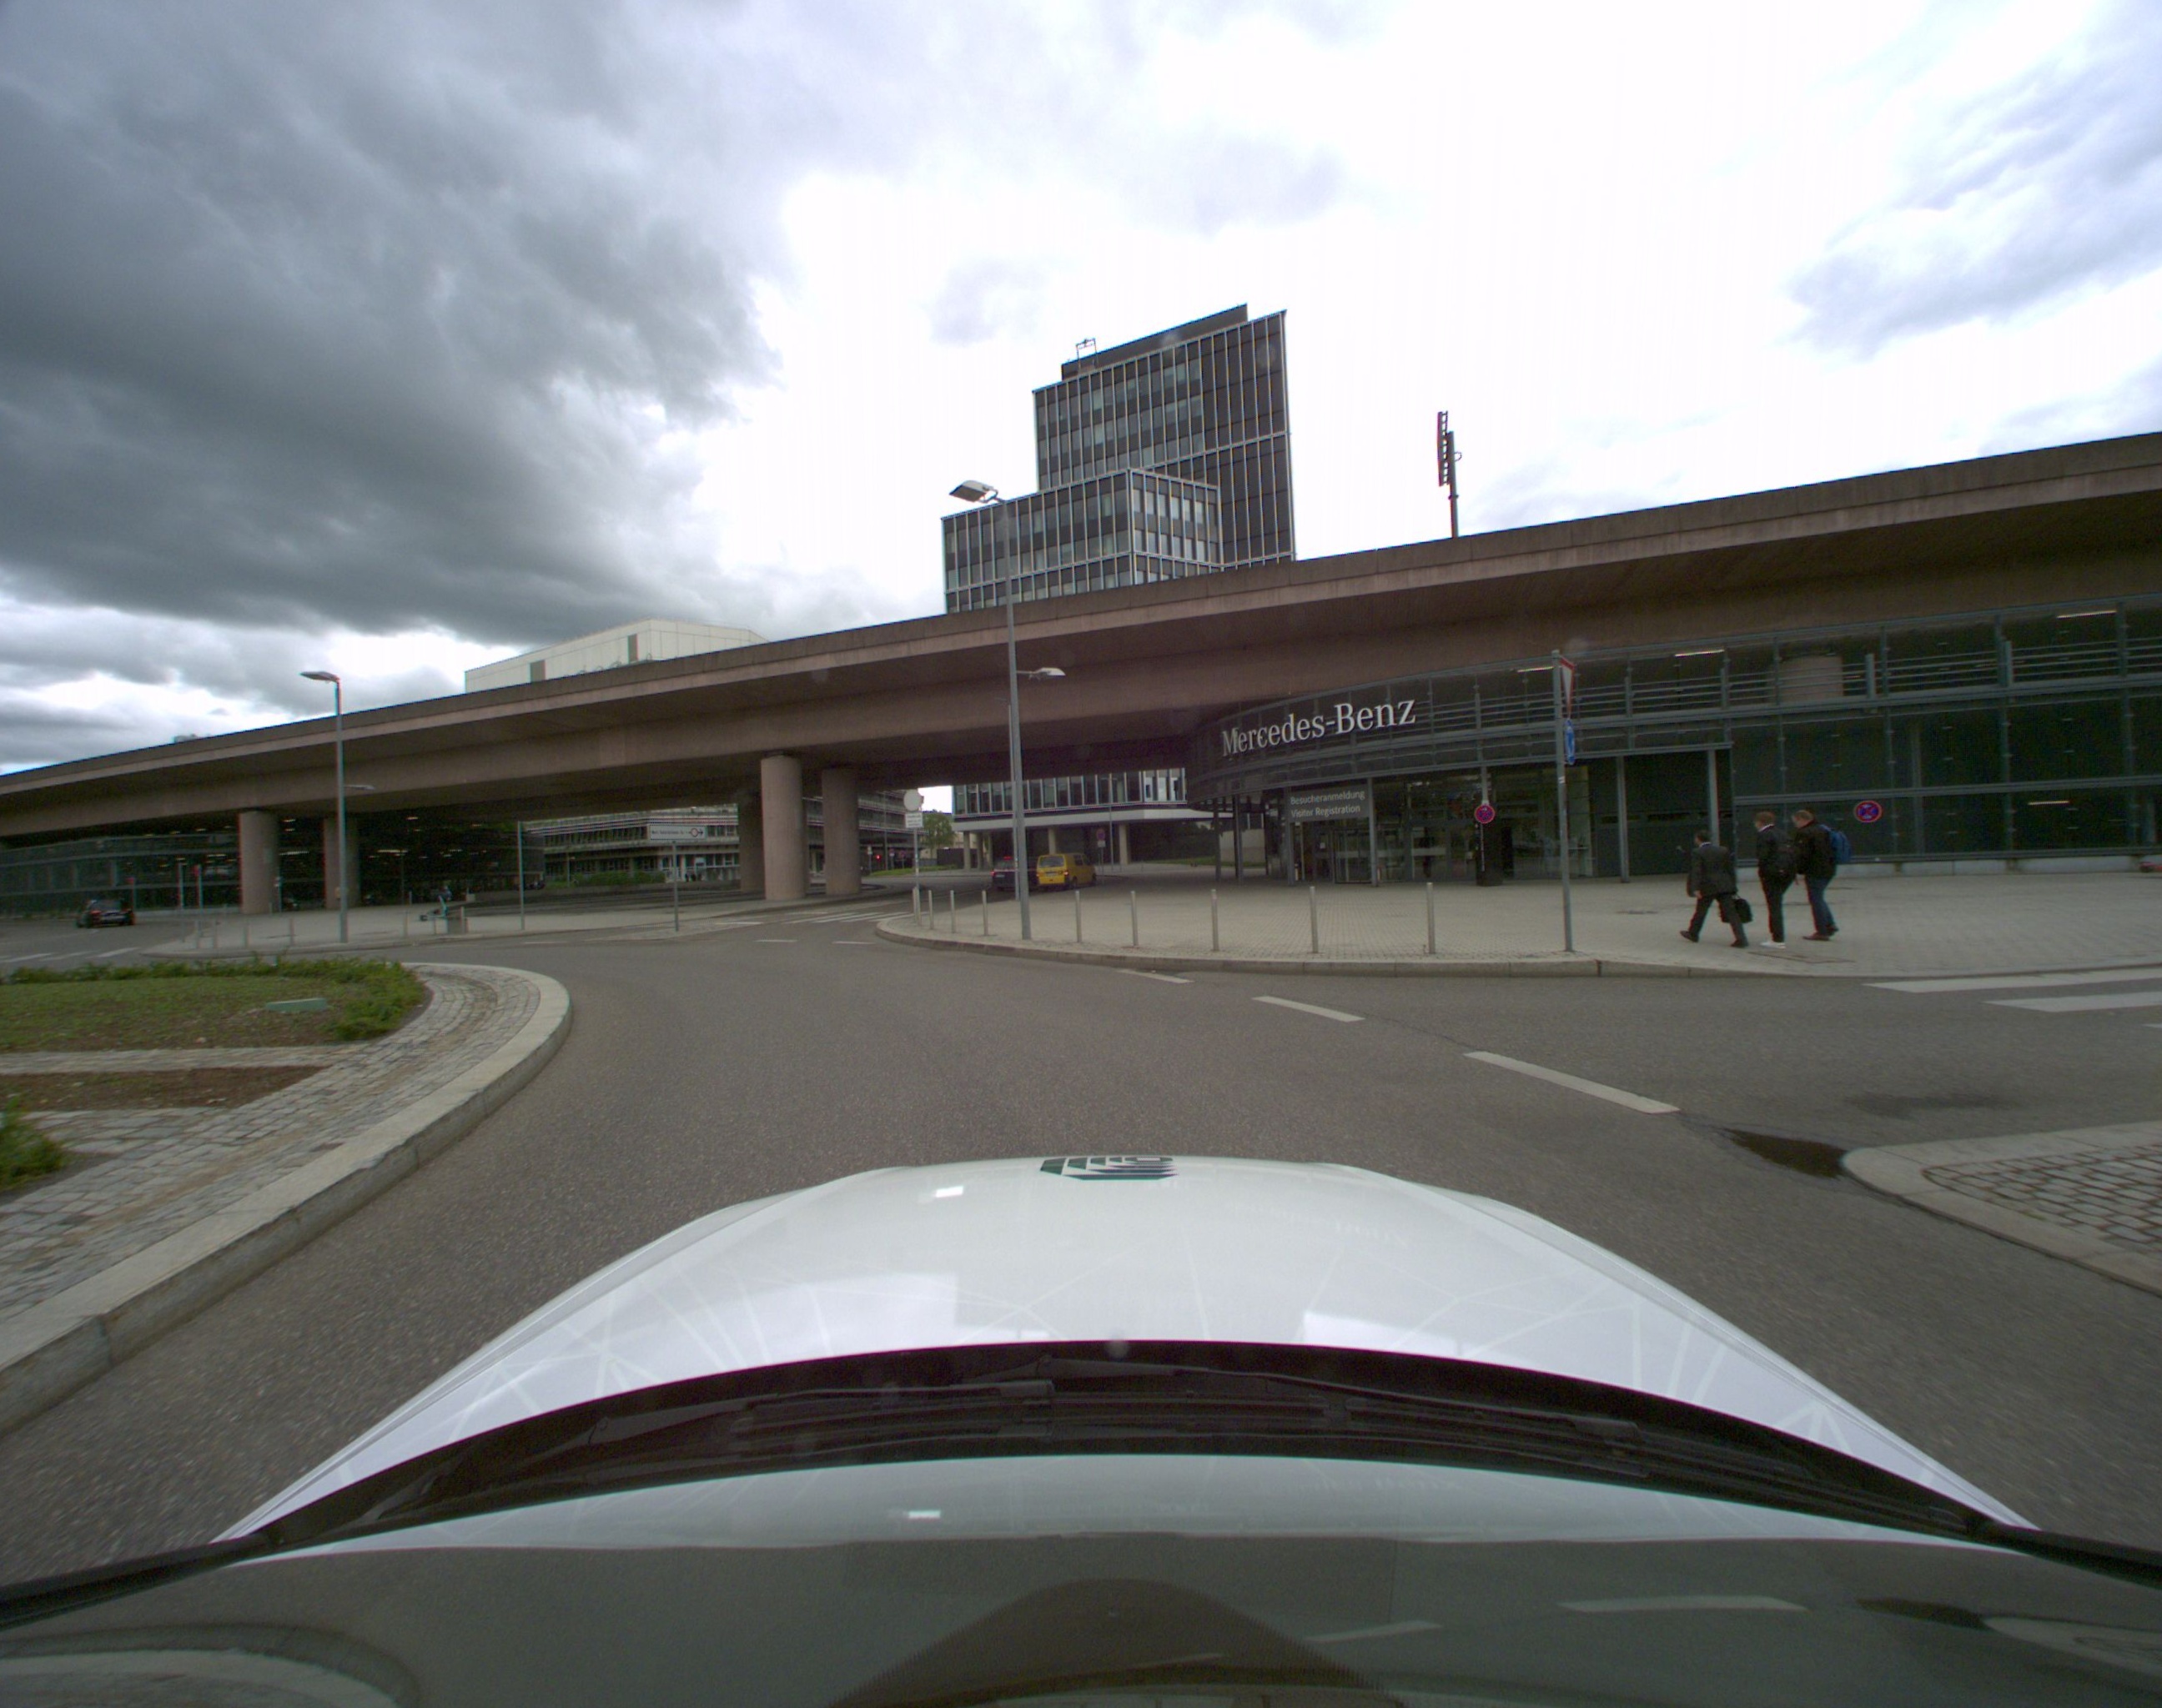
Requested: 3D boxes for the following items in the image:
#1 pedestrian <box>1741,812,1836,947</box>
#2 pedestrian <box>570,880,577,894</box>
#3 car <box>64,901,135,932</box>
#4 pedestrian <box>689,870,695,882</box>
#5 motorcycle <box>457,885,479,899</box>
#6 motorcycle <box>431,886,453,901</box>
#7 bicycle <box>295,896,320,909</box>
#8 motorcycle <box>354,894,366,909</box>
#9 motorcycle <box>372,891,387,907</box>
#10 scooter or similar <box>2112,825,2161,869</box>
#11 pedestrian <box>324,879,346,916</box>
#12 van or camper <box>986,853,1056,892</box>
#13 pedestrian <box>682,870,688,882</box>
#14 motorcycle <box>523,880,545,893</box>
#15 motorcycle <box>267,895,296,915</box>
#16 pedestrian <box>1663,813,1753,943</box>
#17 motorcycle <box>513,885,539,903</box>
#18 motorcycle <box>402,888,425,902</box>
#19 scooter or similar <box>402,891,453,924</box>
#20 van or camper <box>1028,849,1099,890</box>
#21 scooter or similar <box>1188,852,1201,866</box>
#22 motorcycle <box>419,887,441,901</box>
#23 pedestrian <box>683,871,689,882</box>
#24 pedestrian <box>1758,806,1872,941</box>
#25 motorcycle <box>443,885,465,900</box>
[{"bbox_3d":[9.307,0.318,10.745,0.777,1.705,0.777,-1,1,30],"label":"pedestrian"},{"bbox_3d":[-70.138,4.558,112.513,0.566,2.014,0.532,-3,-1,31],"label":"pedestrian"},{"bbox_3d":[-60.118,3.778,49.892,3.659,1.711,1.856,-1,1,25],"label":"car"},{"bbox_3d":[-50.704,2.898,106.252,0.494,1.481,0.543,-2,0,-7],"label":"pedestrian"},{"bbox_3d":[-56.224,3.465,74.728,2.053,1.220,0.678,-1,1,25],"label":"motorcycle"},{"bbox_3d":[-56.961,3.532,72.621,2.053,1.220,0.678,-1,1,25],"label":"motorcycle"},{"bbox_3d":[-63.530,3.953,66.892,1.484,0.976,0.446,-2,1,-40],"label":"bicycle"},{"bbox_3d":[-59.287,3.904,66.961,0.524,1.220,1.138,-2,1,-35],"label":"motorcycle"},{"bbox_3d":[-58.925,3.744,68.359,0.837,1.220,2.053,-2,1,-43],"label":"motorcycle"},{"bbox_3d":[27.589,-0.188,20.899,1.412,1.123,0.383,-2,0,17],"label":"scooter or similar"},{"bbox_3d":[-43.068,2.500,46.990,1.026,2.013,0.789,-1,1,42],"label":"pedestrian"},{"bbox_3d":[-3.258,0.993,45.349,2.129,1.892,4.925,-2,1,18],"label":"van or camper"},{"bbox_3d":[-52.338,2.917,107.542,0.494,1.481,0.543,-2,0,-7],"label":"pedestrian"},{"bbox_3d":[-54.840,3.287,81.591,2.334,1.220,0.678,-1,1,25],"label":"motorcycle"},{"bbox_3d":[-60.450,3.856,61.579,1.746,1.455,0.645,-2,0,8],"label":"motorcycle"},{"bbox_3d":[8.576,0.313,11.181,0.854,1.705,0.777,-1,1,30],"label":"pedestrian"},{"bbox_3d":[-42.799,3.078,62.794,0.544,1.264,1.943,-2,1,4],"label":"motorcycle"},{"bbox_3d":[-57.964,3.564,70.752,2.053,1.220,0.678,-1,1,25],"label":"motorcycle"},{"bbox_3d":[-28.567,2.336,35.611,0.512,1.295,1.660,-1,1,40],"label":"scooter or similar"},{"bbox_3d":[-0.857,0.779,43.647,2.335,1.999,4.527,-2,1,18],"label":"van or camper"},{"bbox_3d":[9.476,0.409,68.118,0.697,1.105,1.499,-2,1,-5],"label":"scooter or similar"},{"bbox_3d":[-57.362,3.530,71.753,2.053,1.220,0.678,-1,1,25],"label":"motorcycle"},{"bbox_3d":[-51.408,2.922,106.065,0.494,1.481,0.543,-2,0,-7],"label":"pedestrian"},{"bbox_3d":[10.157,0.259,11.300,0.858,1.798,0.784,-2,0,6],"label":"pedestrian"},{"bbox_3d":[-56.599,3.480,73.492,2.053,1.286,0.678,-1,1,25],"label":"motorcycle"}]
